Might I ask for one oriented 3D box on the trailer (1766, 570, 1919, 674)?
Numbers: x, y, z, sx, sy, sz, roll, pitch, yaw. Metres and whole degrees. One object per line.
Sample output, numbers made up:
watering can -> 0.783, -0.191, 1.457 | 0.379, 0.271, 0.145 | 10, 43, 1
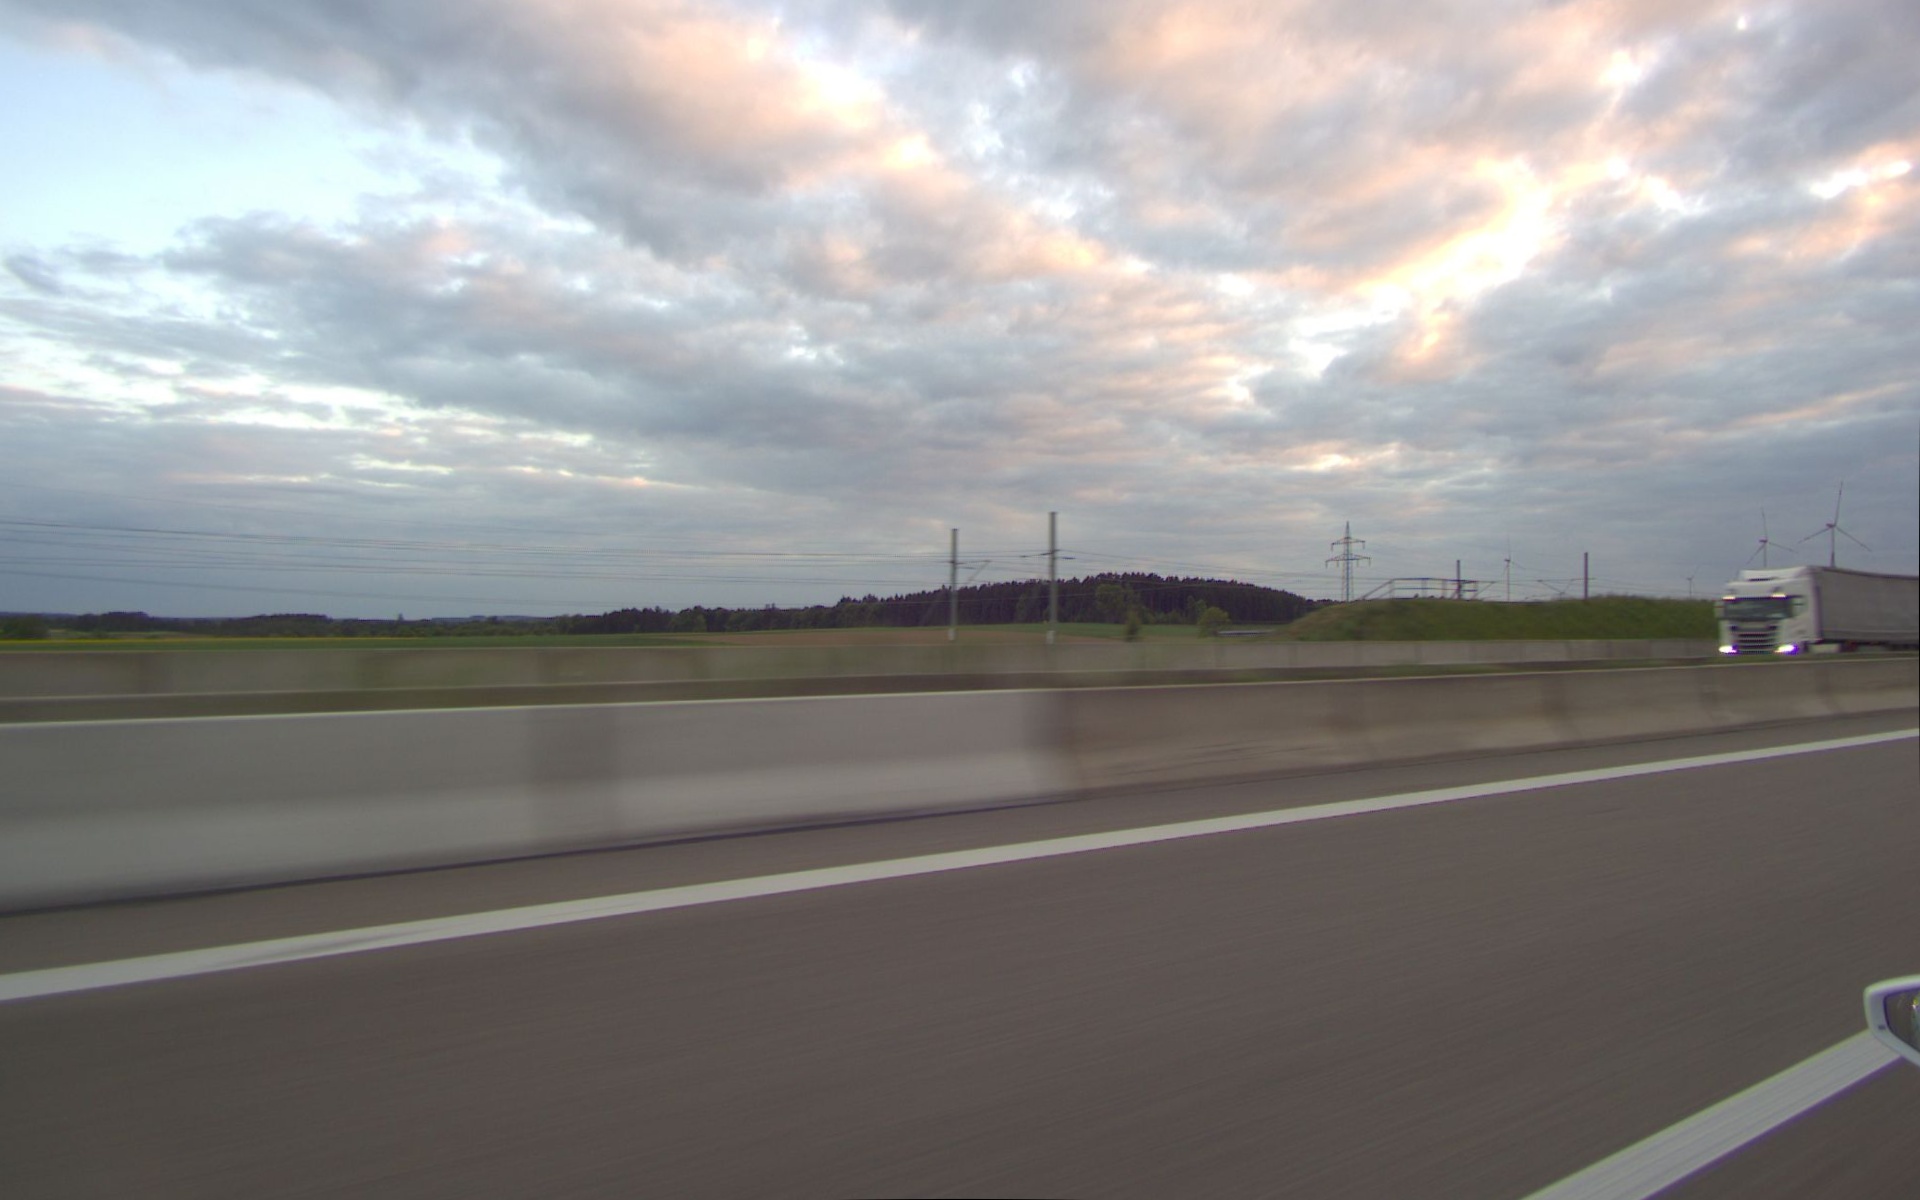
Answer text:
trailer -> 42.402, 1.018, 47.153 | 12.687, 4.410, 2.804 | 1, 0, -31

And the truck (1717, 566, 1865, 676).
truck -> 35.826, 0.877, 43.272 | 6.659, 4.410, 2.804 | 1, 0, -30
